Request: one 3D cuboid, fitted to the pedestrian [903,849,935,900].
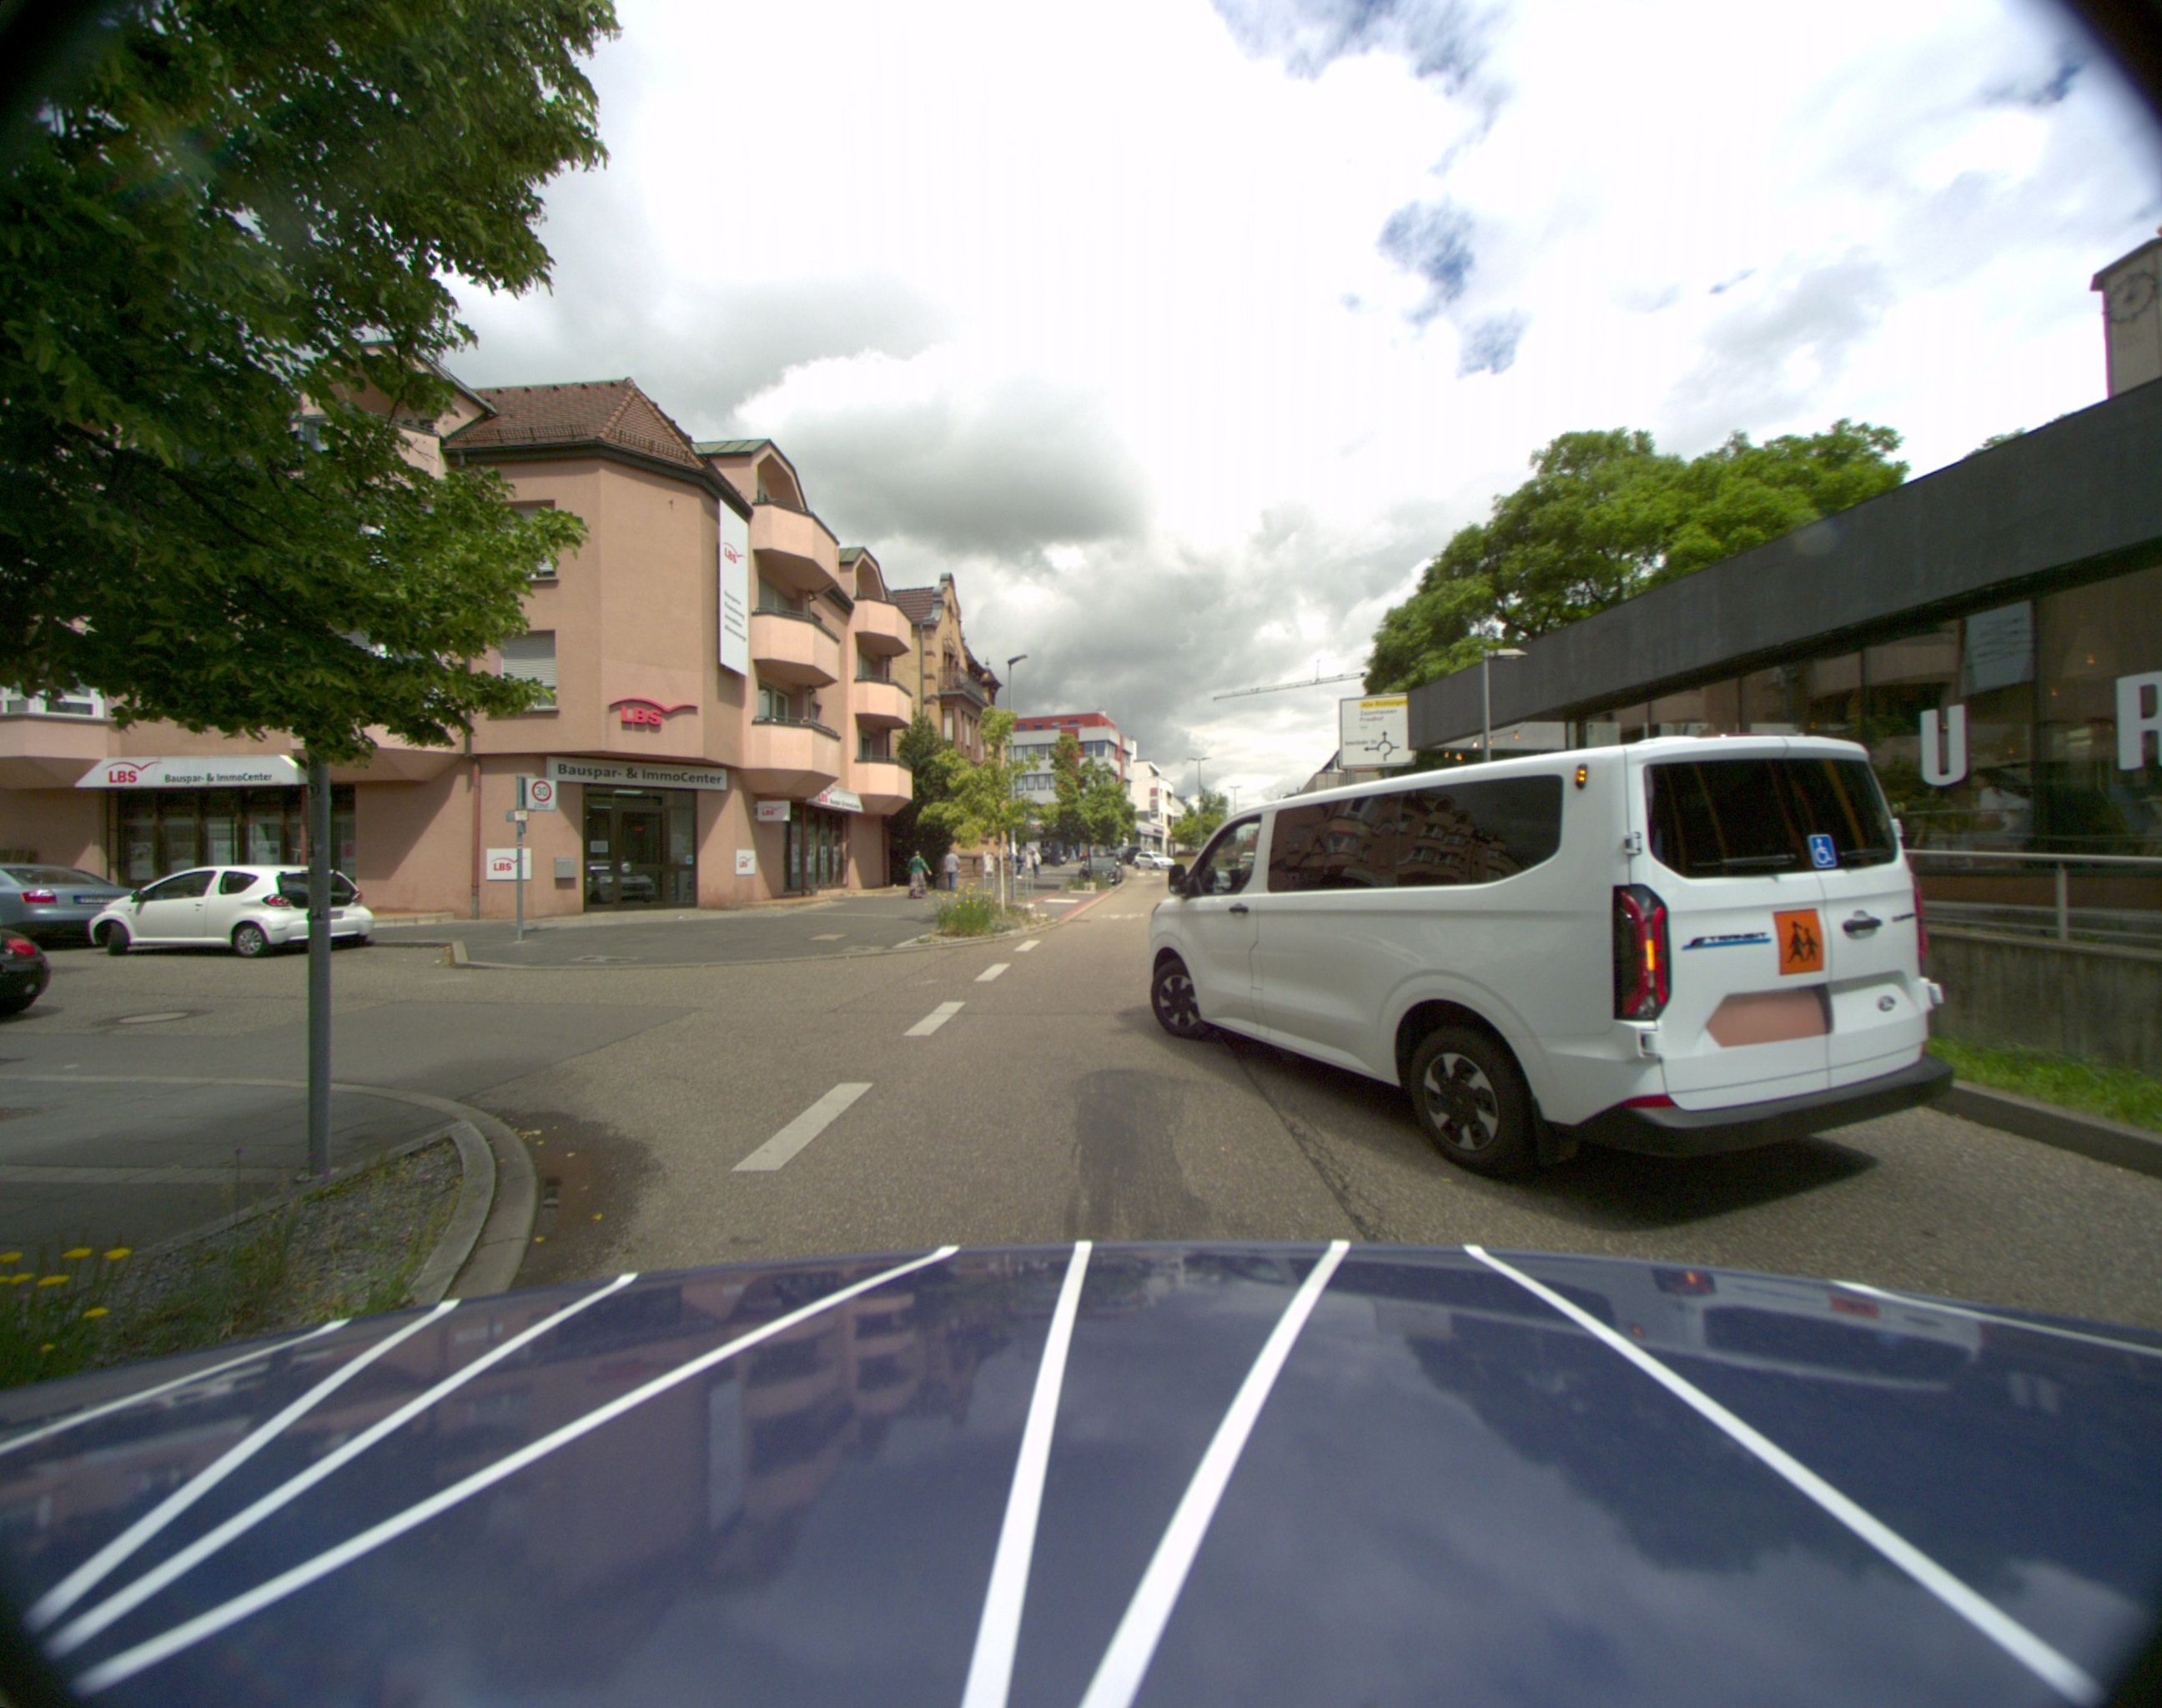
[{"bbox_3d":[-5.346,0.672,25.157,0.745,1.629,0.928,2,0,6],"label":"pedestrian"}]

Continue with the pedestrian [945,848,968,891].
[{"bbox_3d":[-4.965,0.611,30.431,0.717,1.676,0.944,0,2,4],"label":"pedestrian"}]

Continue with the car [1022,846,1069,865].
[{"bbox_3d":[-3.396,0.100,72.289,3.993,1.641,2.002,-2,0,13],"label":"car"}]

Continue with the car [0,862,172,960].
[{"bbox_3d":[-18.550,0.899,13.039,4.017,1.468,1.833,1,0,6],"label":"car"}]

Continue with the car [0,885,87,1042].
[{"bbox_3d":[-12.326,1.045,7.029,3.904,1.468,1.783,1,0,0],"label":"car"}]

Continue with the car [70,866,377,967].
[{"bbox_3d":[-14.083,0.966,12.600,3.388,1.468,1.719,1,0,6],"label":"car"}]

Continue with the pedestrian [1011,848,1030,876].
[{"bbox_3d":[-3.495,0.460,43.865,0.738,1.630,0.677,-1,2,33],"label":"pedestrian"}]

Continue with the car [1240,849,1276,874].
[{"bbox_3d":[11.993,0.458,51.353,1.824,1.575,4.171,1,1,20],"label":"car"}]

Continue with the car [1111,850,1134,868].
[{"bbox_3d":[3.974,0.499,73.736,1.804,1.571,3.998,-2,1,-2],"label":"car"}]

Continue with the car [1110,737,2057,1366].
[{"bbox_3d":[2.085,0.621,5.280,2.001,2.002,5.386,-3,0,-17],"label":"car"}]

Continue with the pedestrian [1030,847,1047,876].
[{"bbox_3d":[-2.480,0.422,44.054,0.696,1.649,0.741,-1,2,19],"label":"pedestrian"}]

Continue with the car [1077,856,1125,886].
[{"bbox_3d":[1.105,0.836,39.096,1.997,1.406,4.738,0,1,8],"label":"car"}]

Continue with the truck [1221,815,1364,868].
[{"bbox_3d":[16.958,-1.030,61.100,10.847,3.821,2.680,-2,2,-8],"label":"truck"}]

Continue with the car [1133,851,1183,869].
[{"bbox_3d":[6.263,0.453,62.426,1.820,1.391,4.042,-3,2,-36],"label":"car"}]

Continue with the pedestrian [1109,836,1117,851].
[{"bbox_3d":[3.601,-1.162,85.338,0.684,1.585,0.767,-1,2,17],"label":"pedestrian"}]
